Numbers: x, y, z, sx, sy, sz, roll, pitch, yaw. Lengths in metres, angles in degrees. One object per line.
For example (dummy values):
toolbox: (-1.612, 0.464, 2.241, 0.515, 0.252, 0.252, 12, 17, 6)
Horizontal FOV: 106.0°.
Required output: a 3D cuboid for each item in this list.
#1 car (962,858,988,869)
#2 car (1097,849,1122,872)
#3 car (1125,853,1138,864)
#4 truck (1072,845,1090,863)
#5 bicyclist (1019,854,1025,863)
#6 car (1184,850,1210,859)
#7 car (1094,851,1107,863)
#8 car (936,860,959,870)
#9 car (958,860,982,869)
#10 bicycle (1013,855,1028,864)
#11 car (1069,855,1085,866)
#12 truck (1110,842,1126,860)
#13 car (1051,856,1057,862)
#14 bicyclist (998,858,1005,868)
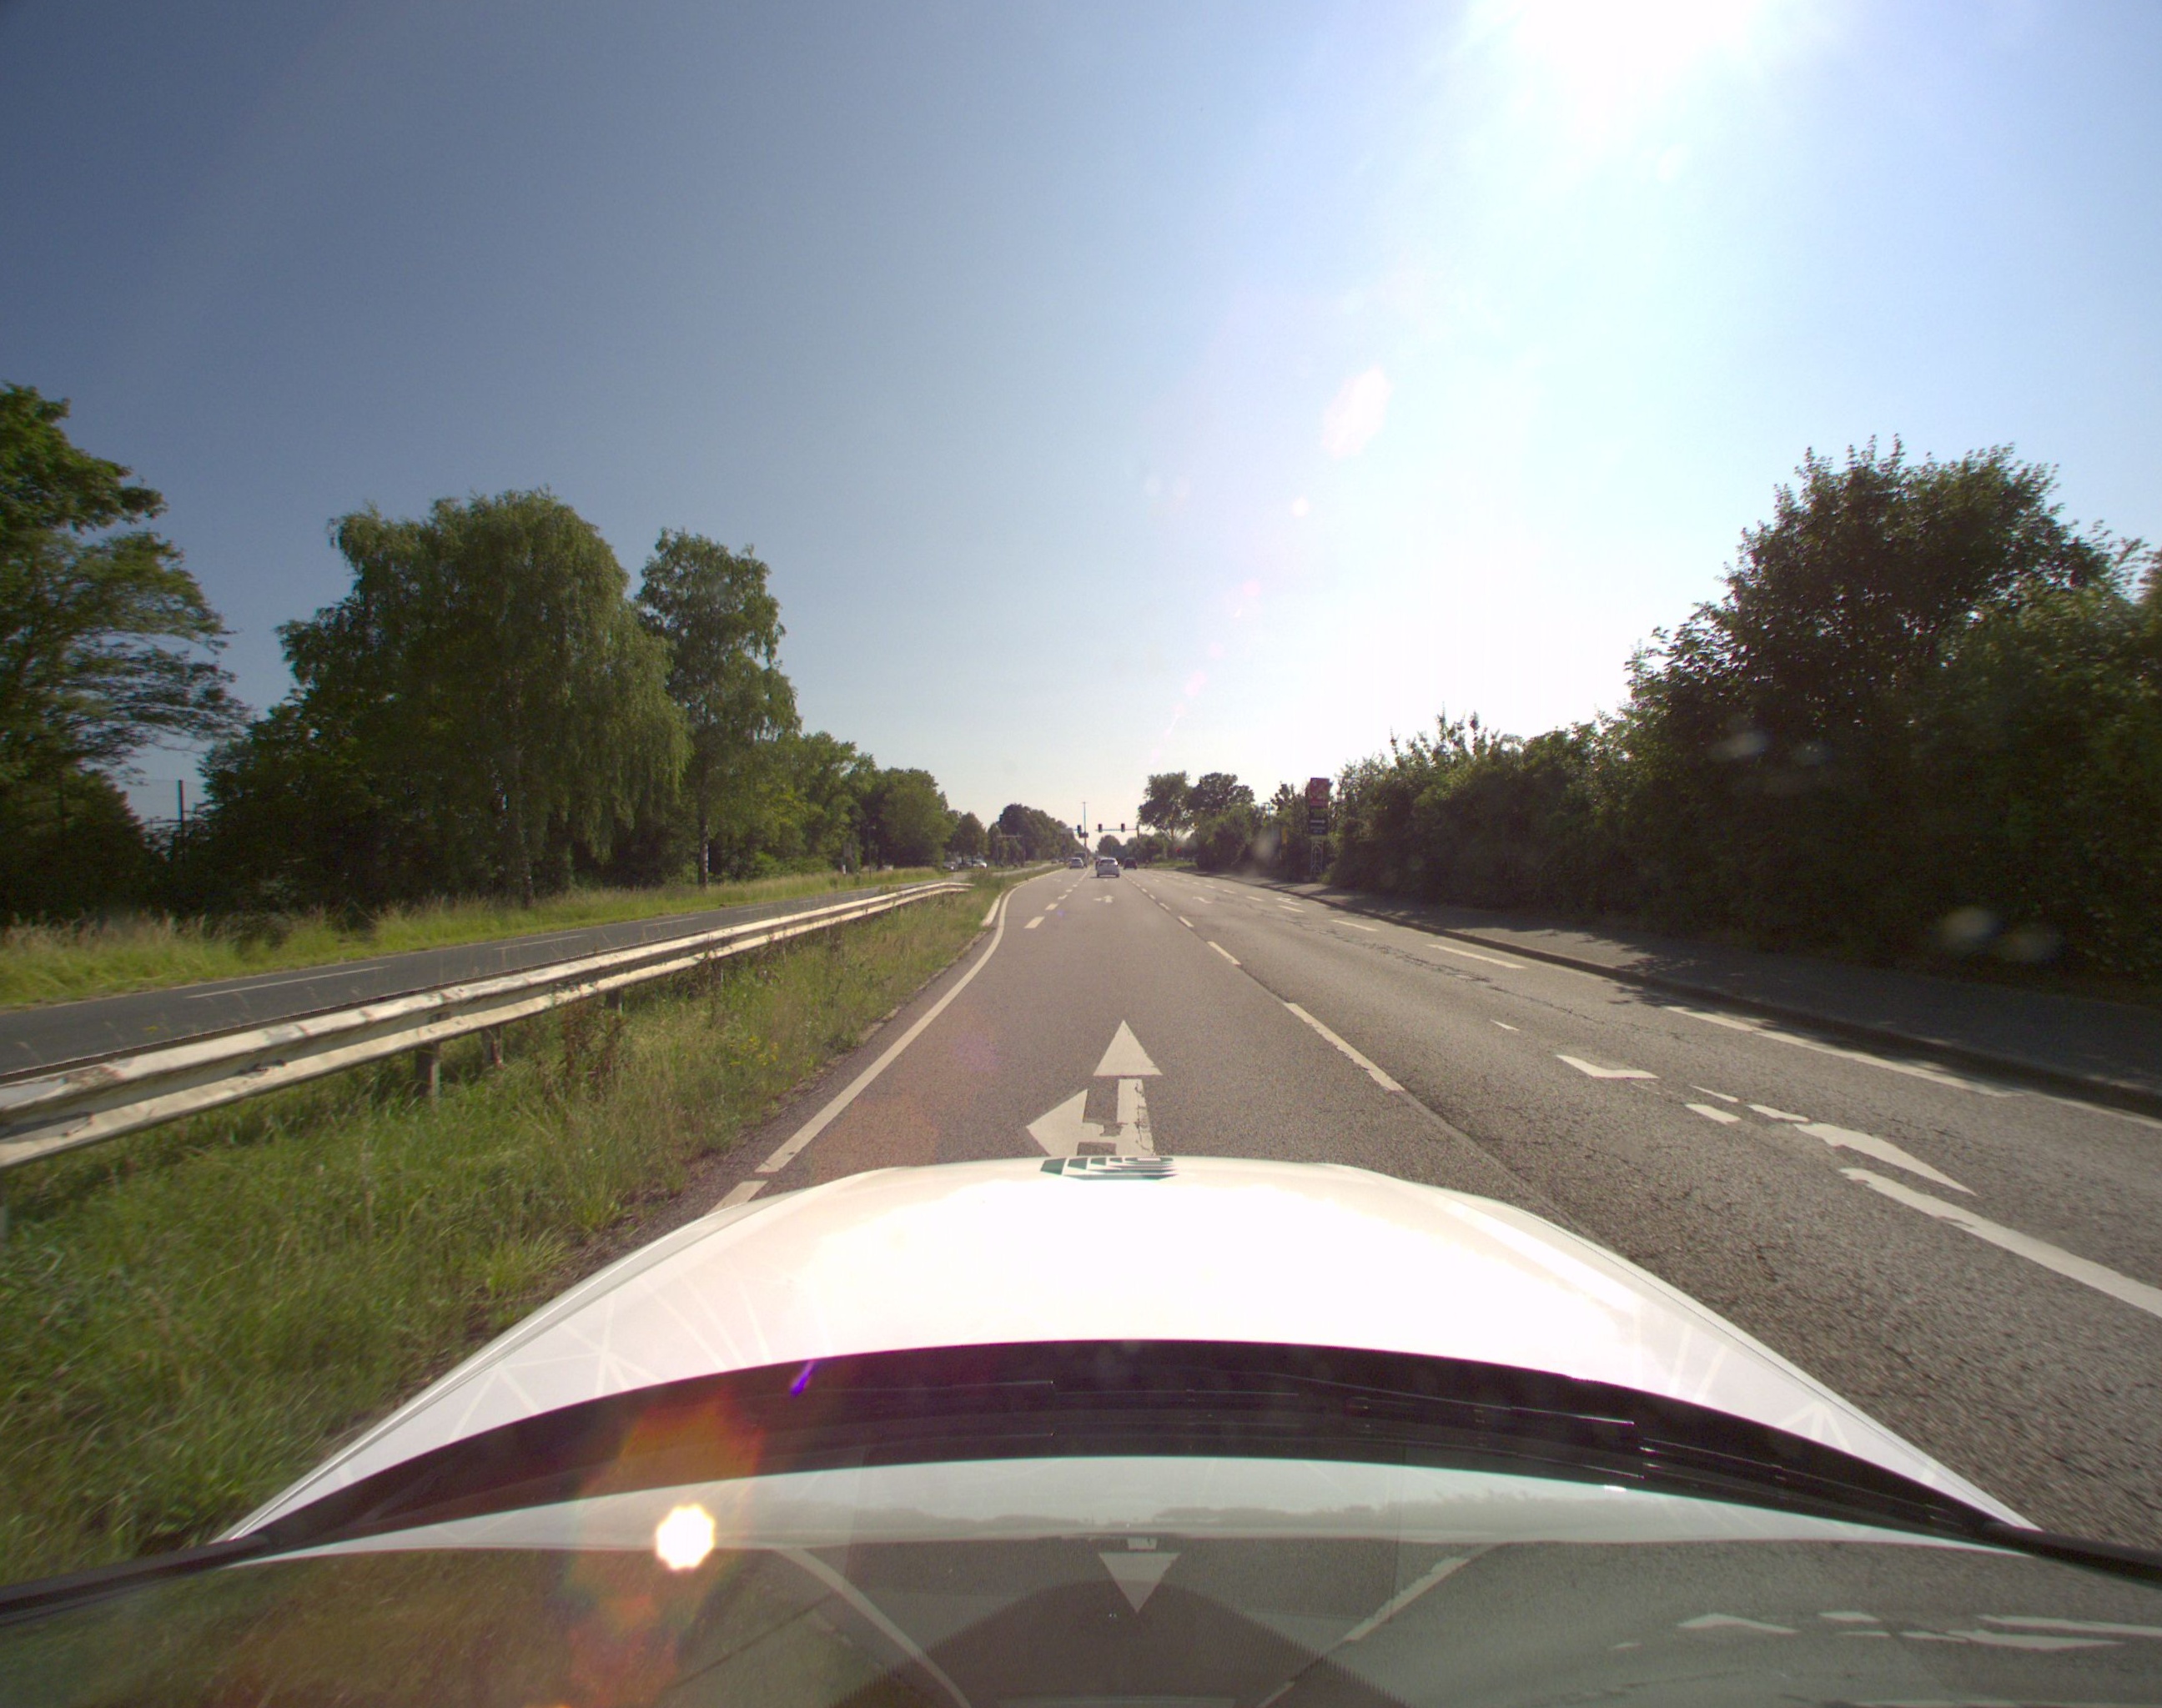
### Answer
car: (-20.304, 1.798, 156.039, 4.595, 1.950, 2.013, -3, 0, 36)
car: (2.161, 0.458, 61.605, 1.792, 1.552, 4.002, -1, 1, 2)
car: (6.280, 0.564, 101.754, 1.566, 1.414, 3.278, -1, 0, 1)
truck: (0.031, -0.006, 120.659, 2.365, 2.388, 6.043, -2, 1, 2)
bicyclist: (-11.523, 0.877, 159.558, 0.854, 1.618, 0.763, -1, 0, 29)
car: (19.130, 0.099, 134.181, 3.707, 1.469, 1.796, -2, 0, 28)
car: (2.407, 0.332, 99.646, 1.566, 1.414, 3.278, -1, -1, 1)
car: (-25.562, 2.153, 155.860, 4.212, 1.606, 2.018, -3, 0, 36)
car: (-20.741, 1.984, 152.355, 4.212, 1.606, 2.018, -3, 0, 36)
bicycle: (-11.914, 1.052, 159.751, 2.765, 1.670, 1.143, -3, 0, 28)
car: (-0.519, 0.831, 109.206, 1.805, 1.464, 4.973, -1, 0, 2)
truck: (7.174, -0.652, 160.089, 2.881, 3.428, 9.172, -2, 1, 1)
car: (-7.173, 1.327, 216.195, 1.480, 1.414, 3.763, -5, 0, 1)
bicyclist: (-12.626, 1.477, 128.974, 0.842, 1.517, 0.748, -2, 0, 6)
